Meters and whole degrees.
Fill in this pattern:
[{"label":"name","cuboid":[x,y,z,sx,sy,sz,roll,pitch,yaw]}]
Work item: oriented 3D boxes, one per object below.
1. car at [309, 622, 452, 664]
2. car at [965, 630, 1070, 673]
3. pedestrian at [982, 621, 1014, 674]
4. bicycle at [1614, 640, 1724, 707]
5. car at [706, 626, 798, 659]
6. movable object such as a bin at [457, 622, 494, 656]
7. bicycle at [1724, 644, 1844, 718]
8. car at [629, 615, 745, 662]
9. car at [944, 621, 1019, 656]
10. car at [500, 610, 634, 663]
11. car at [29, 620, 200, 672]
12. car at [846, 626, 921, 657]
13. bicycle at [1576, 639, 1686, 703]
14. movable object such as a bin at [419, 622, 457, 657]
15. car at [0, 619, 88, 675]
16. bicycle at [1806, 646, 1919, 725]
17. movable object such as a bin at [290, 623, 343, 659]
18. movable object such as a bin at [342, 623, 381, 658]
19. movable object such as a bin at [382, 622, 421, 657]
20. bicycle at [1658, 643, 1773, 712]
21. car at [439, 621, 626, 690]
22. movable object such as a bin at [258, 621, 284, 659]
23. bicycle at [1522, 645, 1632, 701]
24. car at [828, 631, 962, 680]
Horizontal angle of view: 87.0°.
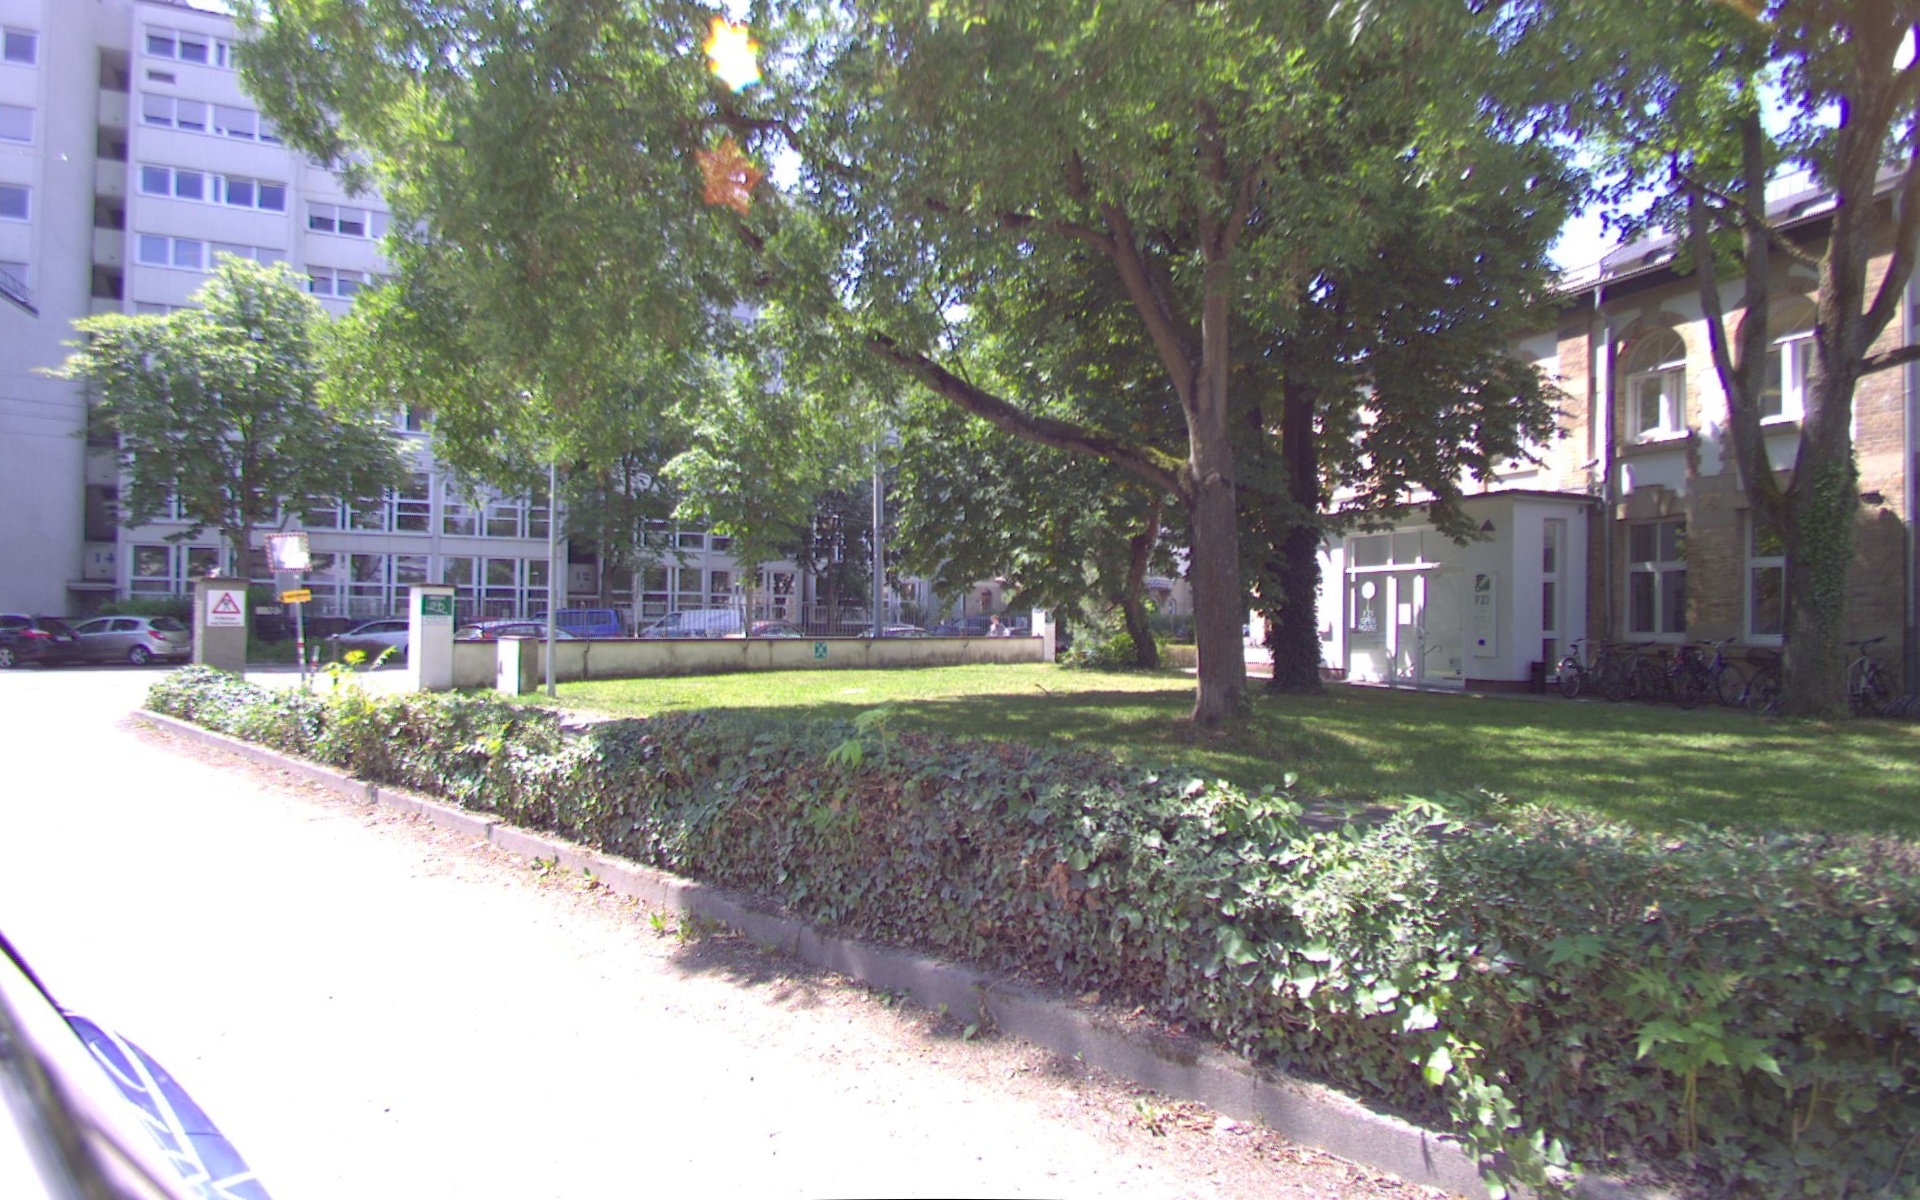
[{"label":"car","cuboid":[-20.049,1.493,35.150,3.920,1.424,1.717,0,-2,-6]},{"label":"car","cuboid":[2.145,1.851,37.006,1.952,1.455,3.720,-2,-3,42]},{"label":"pedestrian","cuboid":[1.156,1.419,30.773,0.696,1.579,0.734,-1,-2,39]},{"label":"bicycle","cuboid":[11.735,1.188,16.721,2.221,1.019,0.572,1,-2,-29]},{"label":"car","cuboid":[-9.710,1.994,47.379,3.951,1.497,1.667,0,-2,7]},{"label":"movable object such as a bin","cuboid":[-20.546,1.650,42.943,1.163,1.409,1.039,2,-3,-42]},{"label":"bicycle","cuboid":[12.425,1.193,15.240,2.221,1.019,0.609,1,-2,-29]},{"label":"car","cuboid":[-12.029,1.686,44.785,4.569,2.029,1.998,0,-2,3]},{"label":"car","cuboid":[1.278,2.241,59.734,3.975,2.029,1.984,-1,-2,24]},{"label":"car","cuboid":[-15.502,1.465,40.128,4.560,2.029,2.002,0,-2,-5]},{"label":"car","cuboid":[-24.943,1.351,29.966,3.485,1.473,1.756,0,-2,-6]},{"label":"car","cuboid":[-4.171,2.247,55.032,3.938,1.397,1.753,3,0,-6]},{"label":"bicycle","cuboid":[11.505,1.189,17.334,2.221,1.019,0.634,1,-2,-30]},{"label":"movable object such as a bin","cuboid":[-21.585,1.615,41.848,1.163,1.409,1.039,2,-3,-42]},{"label":"car","cuboid":[-26.766,1.268,27.671,4.133,1.481,1.756,0,-2,-6]},{"label":"bicycle","cuboid":[12.881,1.171,14.234,2.220,1.019,0.609,1,-2,-25]},{"label":"movable object such as a bin","cuboid":[-24.394,1.537,38.375,1.126,1.340,1.432,-2,-3,42]},{"label":"movable object such as a bin","cuboid":[-23.435,1.577,39.600,0.971,1.340,1.062,-2,-3,42]},{"label":"movable object such as a bin","cuboid":[-22.545,1.583,40.831,1.163,1.409,1.039,2,-3,-42]},{"label":"bicycle","cuboid":[12.073,1.211,16.154,2.221,1.019,0.609,1,-2,-29]},{"label":"car","cuboid":[-9.720,1.267,23.235,1.586,1.468,3.679,-4,-4,37]},{"label":"movable object such as a bin","cuboid":[-26.146,1.507,38.393,0.790,1.416,0.769,1,-3,-36]},{"label":"bicycle","cuboid":[10.977,1.275,17.982,2.221,0.897,0.657,1,-2,-29]},{"label":"car","cuboid":[-2.007,1.722,32.164,1.884,1.429,4.092,-2,-3,42]}]
